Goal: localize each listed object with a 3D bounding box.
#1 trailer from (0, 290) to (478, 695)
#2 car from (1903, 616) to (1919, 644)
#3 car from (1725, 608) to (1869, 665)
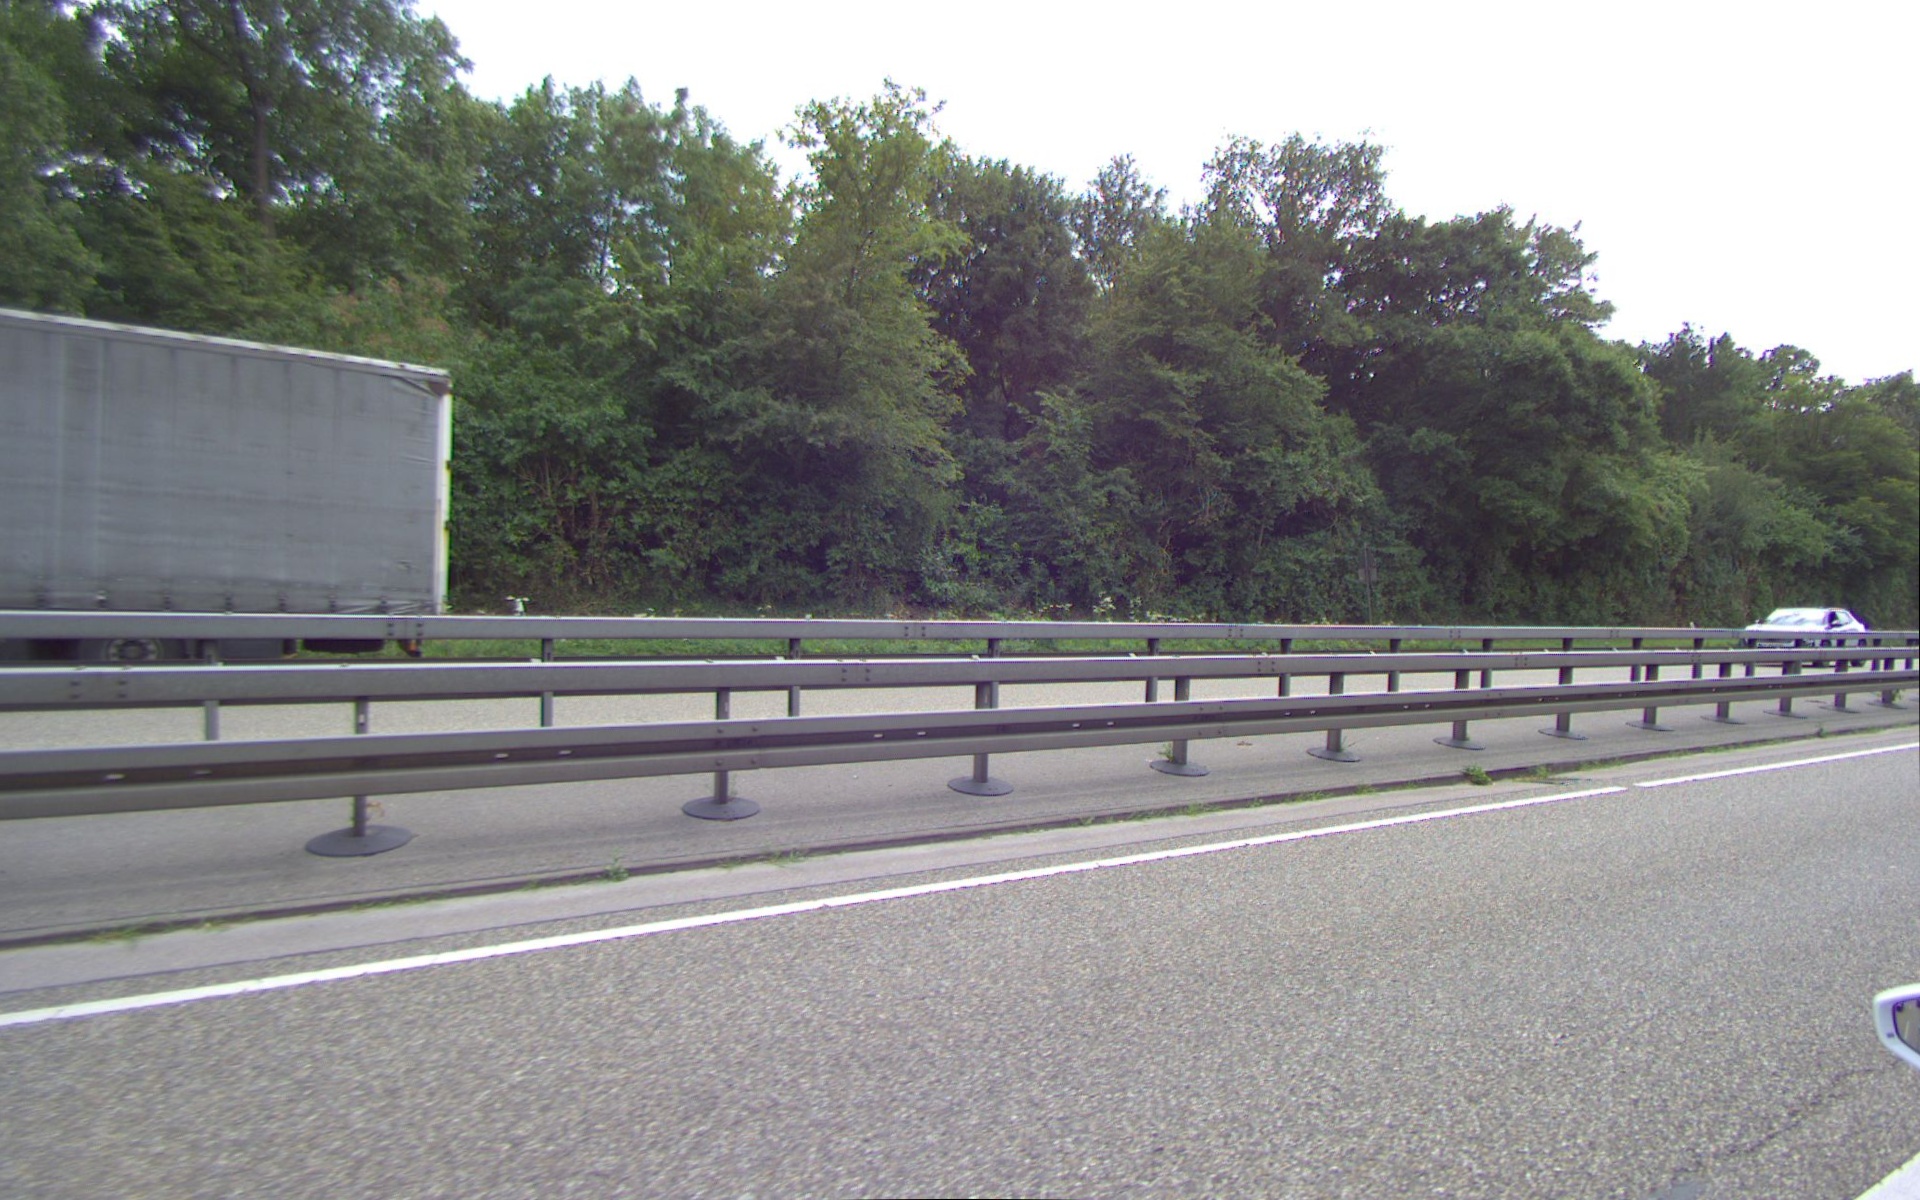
[{"bbox_3d":[-12.102,-1.131,10.280,12.725,4.100,2.650,1,-1,-31],"label":"trailer"},{"bbox_3d":[43.990,1.356,44.798,4.241,1.205,1.733,1,-1,-31],"label":"car"},{"bbox_3d":[22.399,0.962,26.848,4.241,1.408,1.635,1,-1,-31],"label":"car"}]
